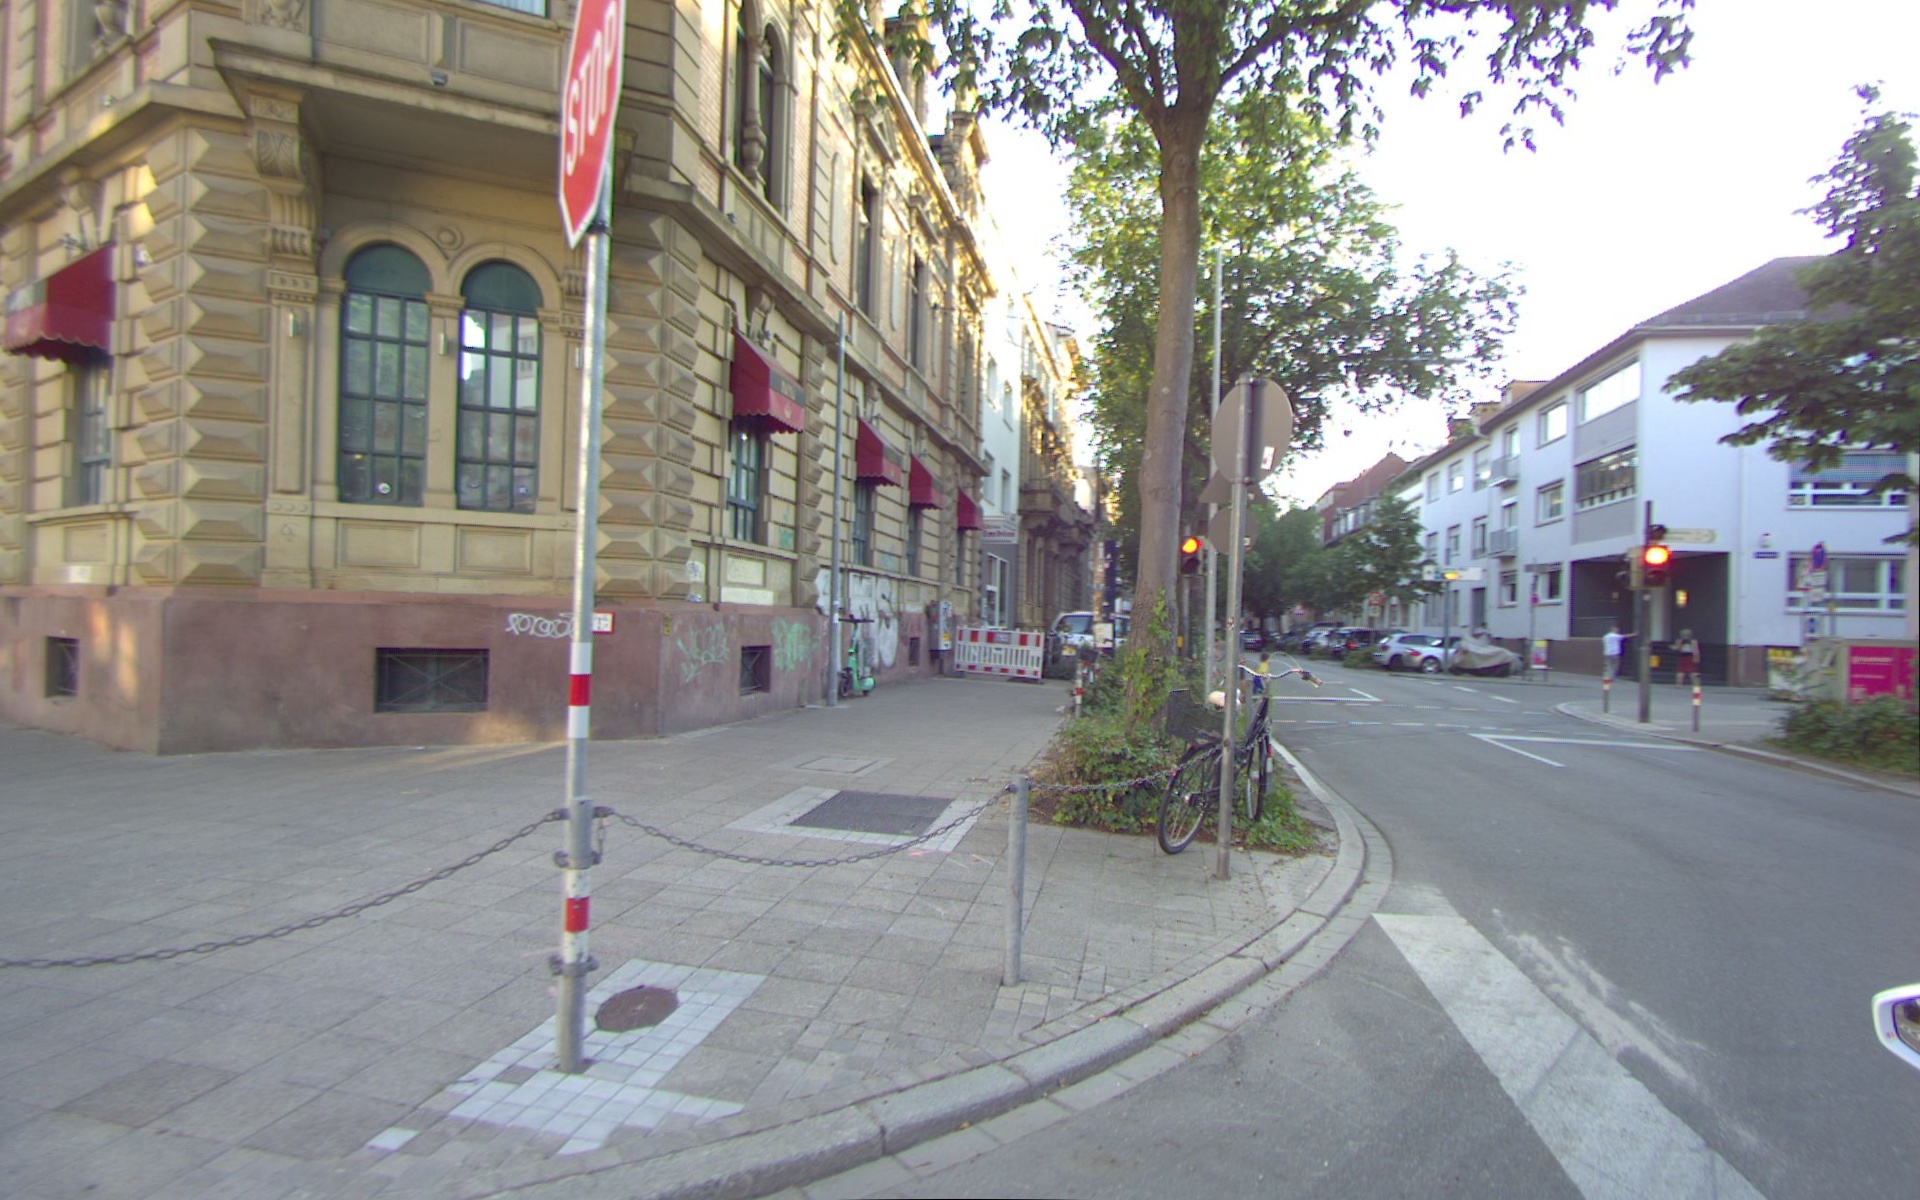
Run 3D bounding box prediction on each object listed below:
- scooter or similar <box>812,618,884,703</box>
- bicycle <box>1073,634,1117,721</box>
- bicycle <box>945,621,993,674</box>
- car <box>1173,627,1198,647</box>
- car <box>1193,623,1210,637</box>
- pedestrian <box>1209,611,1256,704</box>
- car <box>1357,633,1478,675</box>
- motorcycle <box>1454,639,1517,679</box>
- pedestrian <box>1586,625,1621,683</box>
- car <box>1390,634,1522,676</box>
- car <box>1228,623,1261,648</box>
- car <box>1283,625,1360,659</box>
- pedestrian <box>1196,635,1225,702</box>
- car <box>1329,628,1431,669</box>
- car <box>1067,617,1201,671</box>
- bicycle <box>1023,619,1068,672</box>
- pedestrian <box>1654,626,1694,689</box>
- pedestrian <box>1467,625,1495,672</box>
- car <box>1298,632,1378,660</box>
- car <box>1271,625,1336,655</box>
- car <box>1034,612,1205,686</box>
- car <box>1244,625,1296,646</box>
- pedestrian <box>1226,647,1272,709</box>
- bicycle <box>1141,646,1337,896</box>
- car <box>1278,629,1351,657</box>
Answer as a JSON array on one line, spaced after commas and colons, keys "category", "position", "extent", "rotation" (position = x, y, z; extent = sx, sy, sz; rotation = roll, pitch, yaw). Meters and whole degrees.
[{"category": "scooter or similar", "position": [-1.653, 0.886, 14.984], "extent": [0.431, 1.183, 1.287], "rotation": [3, -1, 23]}, {"category": "bicycle", "position": [2.087, 1.140, 15.366], "extent": [0.502, 1.168, 2.103], "rotation": [3, -1, 11]}, {"category": "bicycle", "position": [0.239, 1.133, 24.420], "extent": [0.625, 1.217, 2.565], "rotation": [1, -1, 12]}, {"category": "car", "position": [20.099, 3.300, 89.650], "extent": [1.871, 1.598, 3.994], "rotation": [2, -1, 9]}, {"category": "car", "position": [29.899, 3.728, 124.542], "extent": [1.891, 1.682, 4.003], "rotation": [1, -1, 11]}, {"category": "pedestrian", "position": [5.548, 1.152, 20.423], "extent": [0.873, 1.839, 0.794], "rotation": [1, -1, 16]}, {"category": "car", "position": [17.549, 2.058, 38.659], "extent": [3.946, 1.461, 1.708], "rotation": [1, -1, 11]}, {"category": "motorcycle", "position": [17.159, 1.917, 32.827], "extent": [1.770, 1.215, 0.613], "rotation": [1, -1, 20]}, {"category": "pedestrian", "position": [20.219, 1.687, 31.577], "extent": [0.692, 1.775, 0.700], "rotation": [2, 0, 15]}, {"category": "car", "position": [17.685, 1.949, 35.976], "extent": [3.946, 1.360, 1.708], "rotation": [1, -1, 12]}, {"category": "car", "position": [20.030, 2.476, 70.794], "extent": [1.794, 1.582, 4.031], "rotation": [3, -1, 10]}, {"category": "car", "position": [20.970, 2.431, 58.403], "extent": [3.946, 1.839, 1.708], "rotation": [1, -1, 11]}, {"category": "pedestrian", "position": [5.236, 1.420, 20.988], "extent": [0.530, 1.353, 0.506], "rotation": [2, 0, 16]}, {"category": "car", "position": [18.752, 2.165, 44.993], "extent": [3.946, 1.712, 1.708], "rotation": [1, -1, 11]}, {"category": "car", "position": [6.066, 1.515, 35.022], "extent": [4.470, 1.711, 1.834], "rotation": [1, -1, 12]}, {"category": "bicycle", "position": [2.111, 1.089, 24.567], "extent": [0.722, 1.202, 2.636], "rotation": [3, -1, 12]}, {"category": "pedestrian", "position": [21.158, 1.691, 29.769], "extent": [0.918, 1.775, 0.769], "rotation": [2, -1, 35]}, {"category": "pedestrian", "position": [21.244, 1.981, 40.950], "extent": [0.754, 1.865, 0.944], "rotation": [2, 0, 12]}, {"category": "car", "position": [21.056, 2.552, 56.032], "extent": [3.946, 1.428, 1.708], "rotation": [1, -1, 11]}, {"category": "car", "position": [23.313, 2.716, 68.280], "extent": [3.946, 1.854, 1.708], "rotation": [2, -1, 11]}, {"category": "car", "position": [4.353, 1.304, 27.662], "extent": [4.470, 1.859, 1.834], "rotation": [1, -1, 8]}, {"category": "car", "position": [25.606, 2.938, 83.120], "extent": [3.946, 1.623, 1.708], "rotation": [2, -1, 11]}, {"category": "pedestrian", "position": [5.660, 1.517, 19.658], "extent": [0.820, 1.136, 0.567], "rotation": [2, 0, 16]}, {"category": "bicycle", "position": [1.966, 0.980, 6.737], "extent": [0.830, 1.284, 2.570], "rotation": [0, -1, 25]}, {"category": "car", "position": [21.548, 2.583, 61.147], "extent": [3.946, 1.550, 1.708], "rotation": [2, -1, 11]}]
